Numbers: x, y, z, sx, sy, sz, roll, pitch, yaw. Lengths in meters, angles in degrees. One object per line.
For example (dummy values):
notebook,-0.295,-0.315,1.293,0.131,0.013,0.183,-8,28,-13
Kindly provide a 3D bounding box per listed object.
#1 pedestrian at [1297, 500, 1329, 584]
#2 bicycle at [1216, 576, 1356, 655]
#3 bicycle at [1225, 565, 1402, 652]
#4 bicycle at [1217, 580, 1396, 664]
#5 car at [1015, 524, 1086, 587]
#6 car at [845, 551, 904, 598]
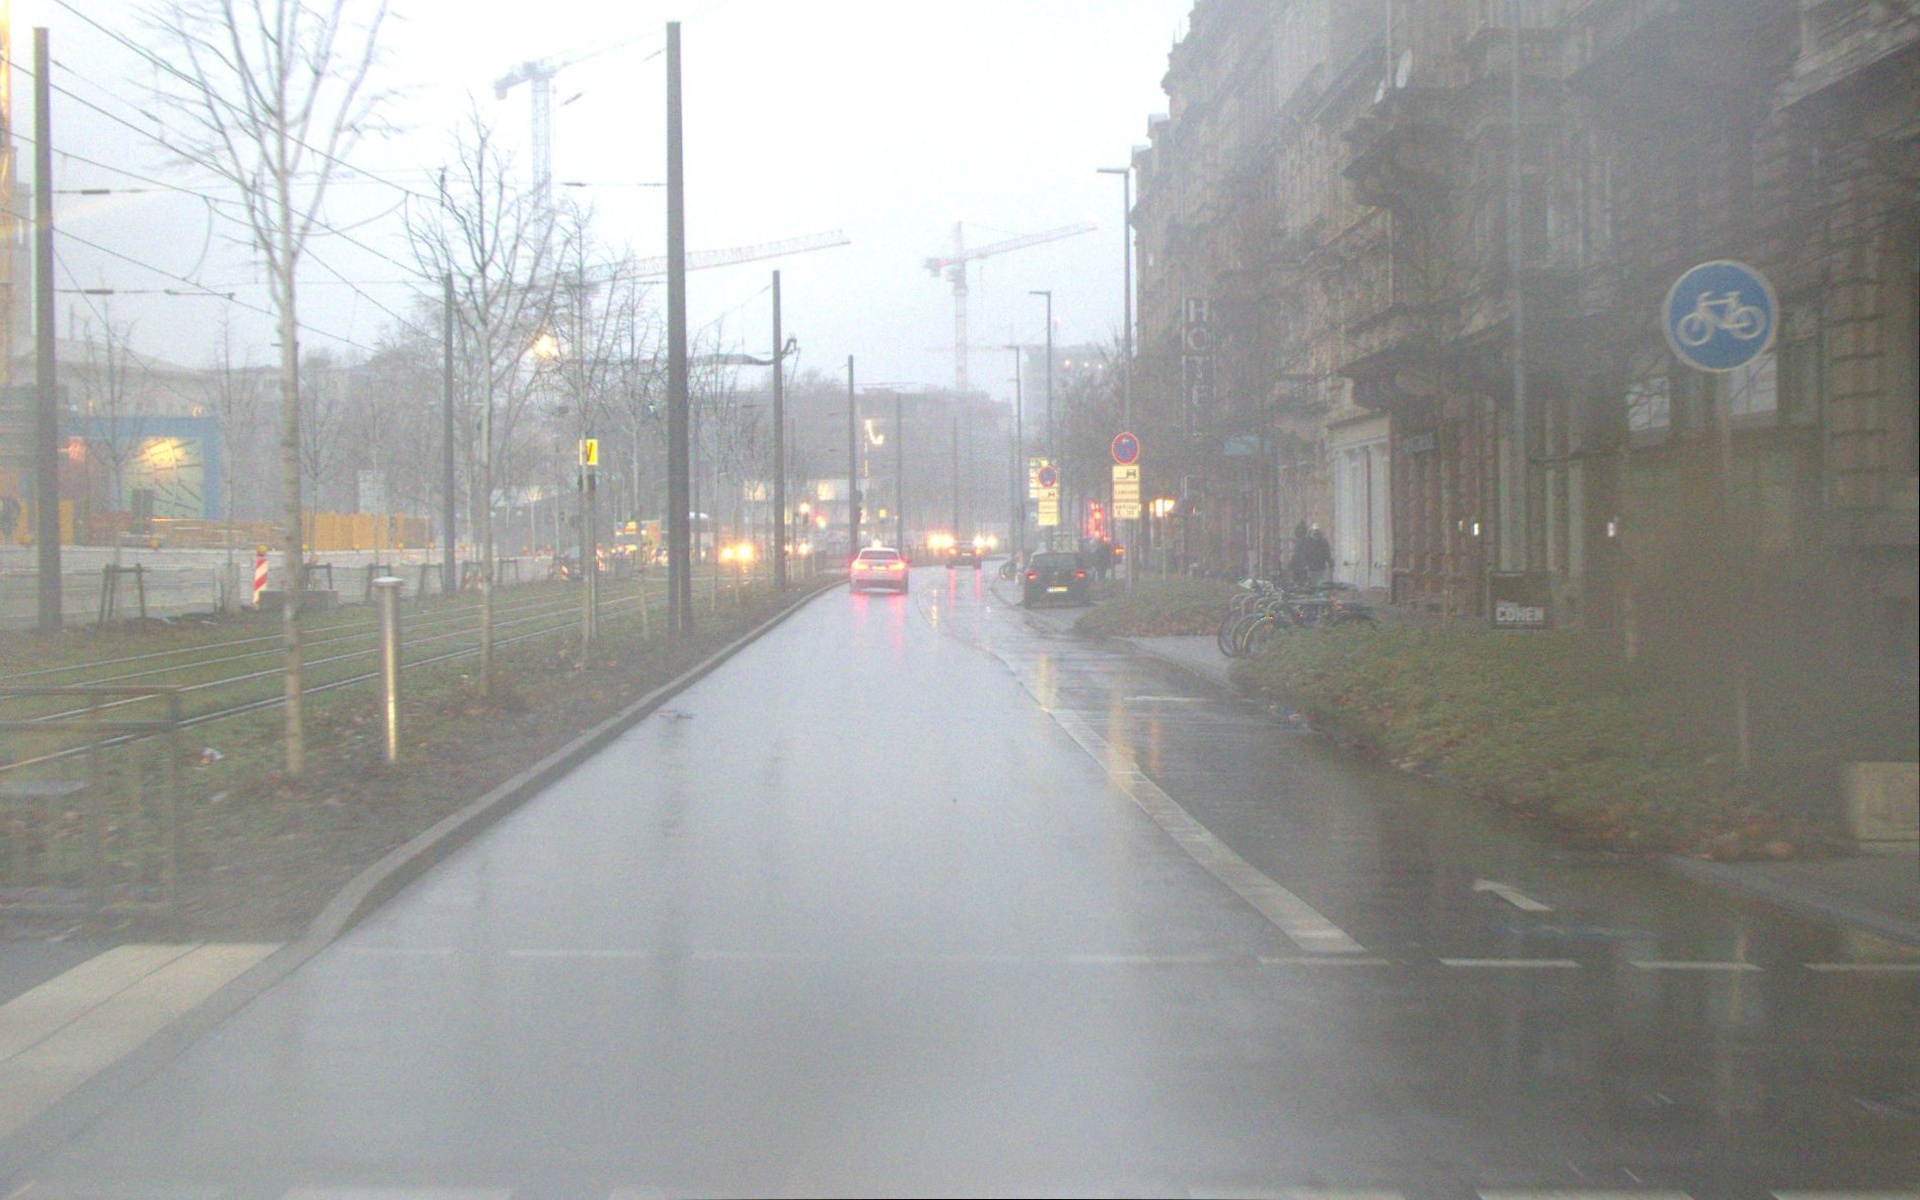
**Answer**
pedestrian,7.514,-1.228,73.124,0.603,1.779,0.528,-1,1,-1
bicycle,4.475,0.209,47.193,1.851,1.054,0.471,-1,1,-3
bicycle,4.471,0.104,43.532,2.146,1.053,0.526,-1,1,-7
bicycle,4.510,0.281,44.760,2.248,1.053,0.526,-1,1,-3
car,2.374,-1.170,90.023,1.799,1.598,3.770,-1,1,1
car,-2.774,-0.842,112.123,1.784,1.462,3.148,0,1,1
